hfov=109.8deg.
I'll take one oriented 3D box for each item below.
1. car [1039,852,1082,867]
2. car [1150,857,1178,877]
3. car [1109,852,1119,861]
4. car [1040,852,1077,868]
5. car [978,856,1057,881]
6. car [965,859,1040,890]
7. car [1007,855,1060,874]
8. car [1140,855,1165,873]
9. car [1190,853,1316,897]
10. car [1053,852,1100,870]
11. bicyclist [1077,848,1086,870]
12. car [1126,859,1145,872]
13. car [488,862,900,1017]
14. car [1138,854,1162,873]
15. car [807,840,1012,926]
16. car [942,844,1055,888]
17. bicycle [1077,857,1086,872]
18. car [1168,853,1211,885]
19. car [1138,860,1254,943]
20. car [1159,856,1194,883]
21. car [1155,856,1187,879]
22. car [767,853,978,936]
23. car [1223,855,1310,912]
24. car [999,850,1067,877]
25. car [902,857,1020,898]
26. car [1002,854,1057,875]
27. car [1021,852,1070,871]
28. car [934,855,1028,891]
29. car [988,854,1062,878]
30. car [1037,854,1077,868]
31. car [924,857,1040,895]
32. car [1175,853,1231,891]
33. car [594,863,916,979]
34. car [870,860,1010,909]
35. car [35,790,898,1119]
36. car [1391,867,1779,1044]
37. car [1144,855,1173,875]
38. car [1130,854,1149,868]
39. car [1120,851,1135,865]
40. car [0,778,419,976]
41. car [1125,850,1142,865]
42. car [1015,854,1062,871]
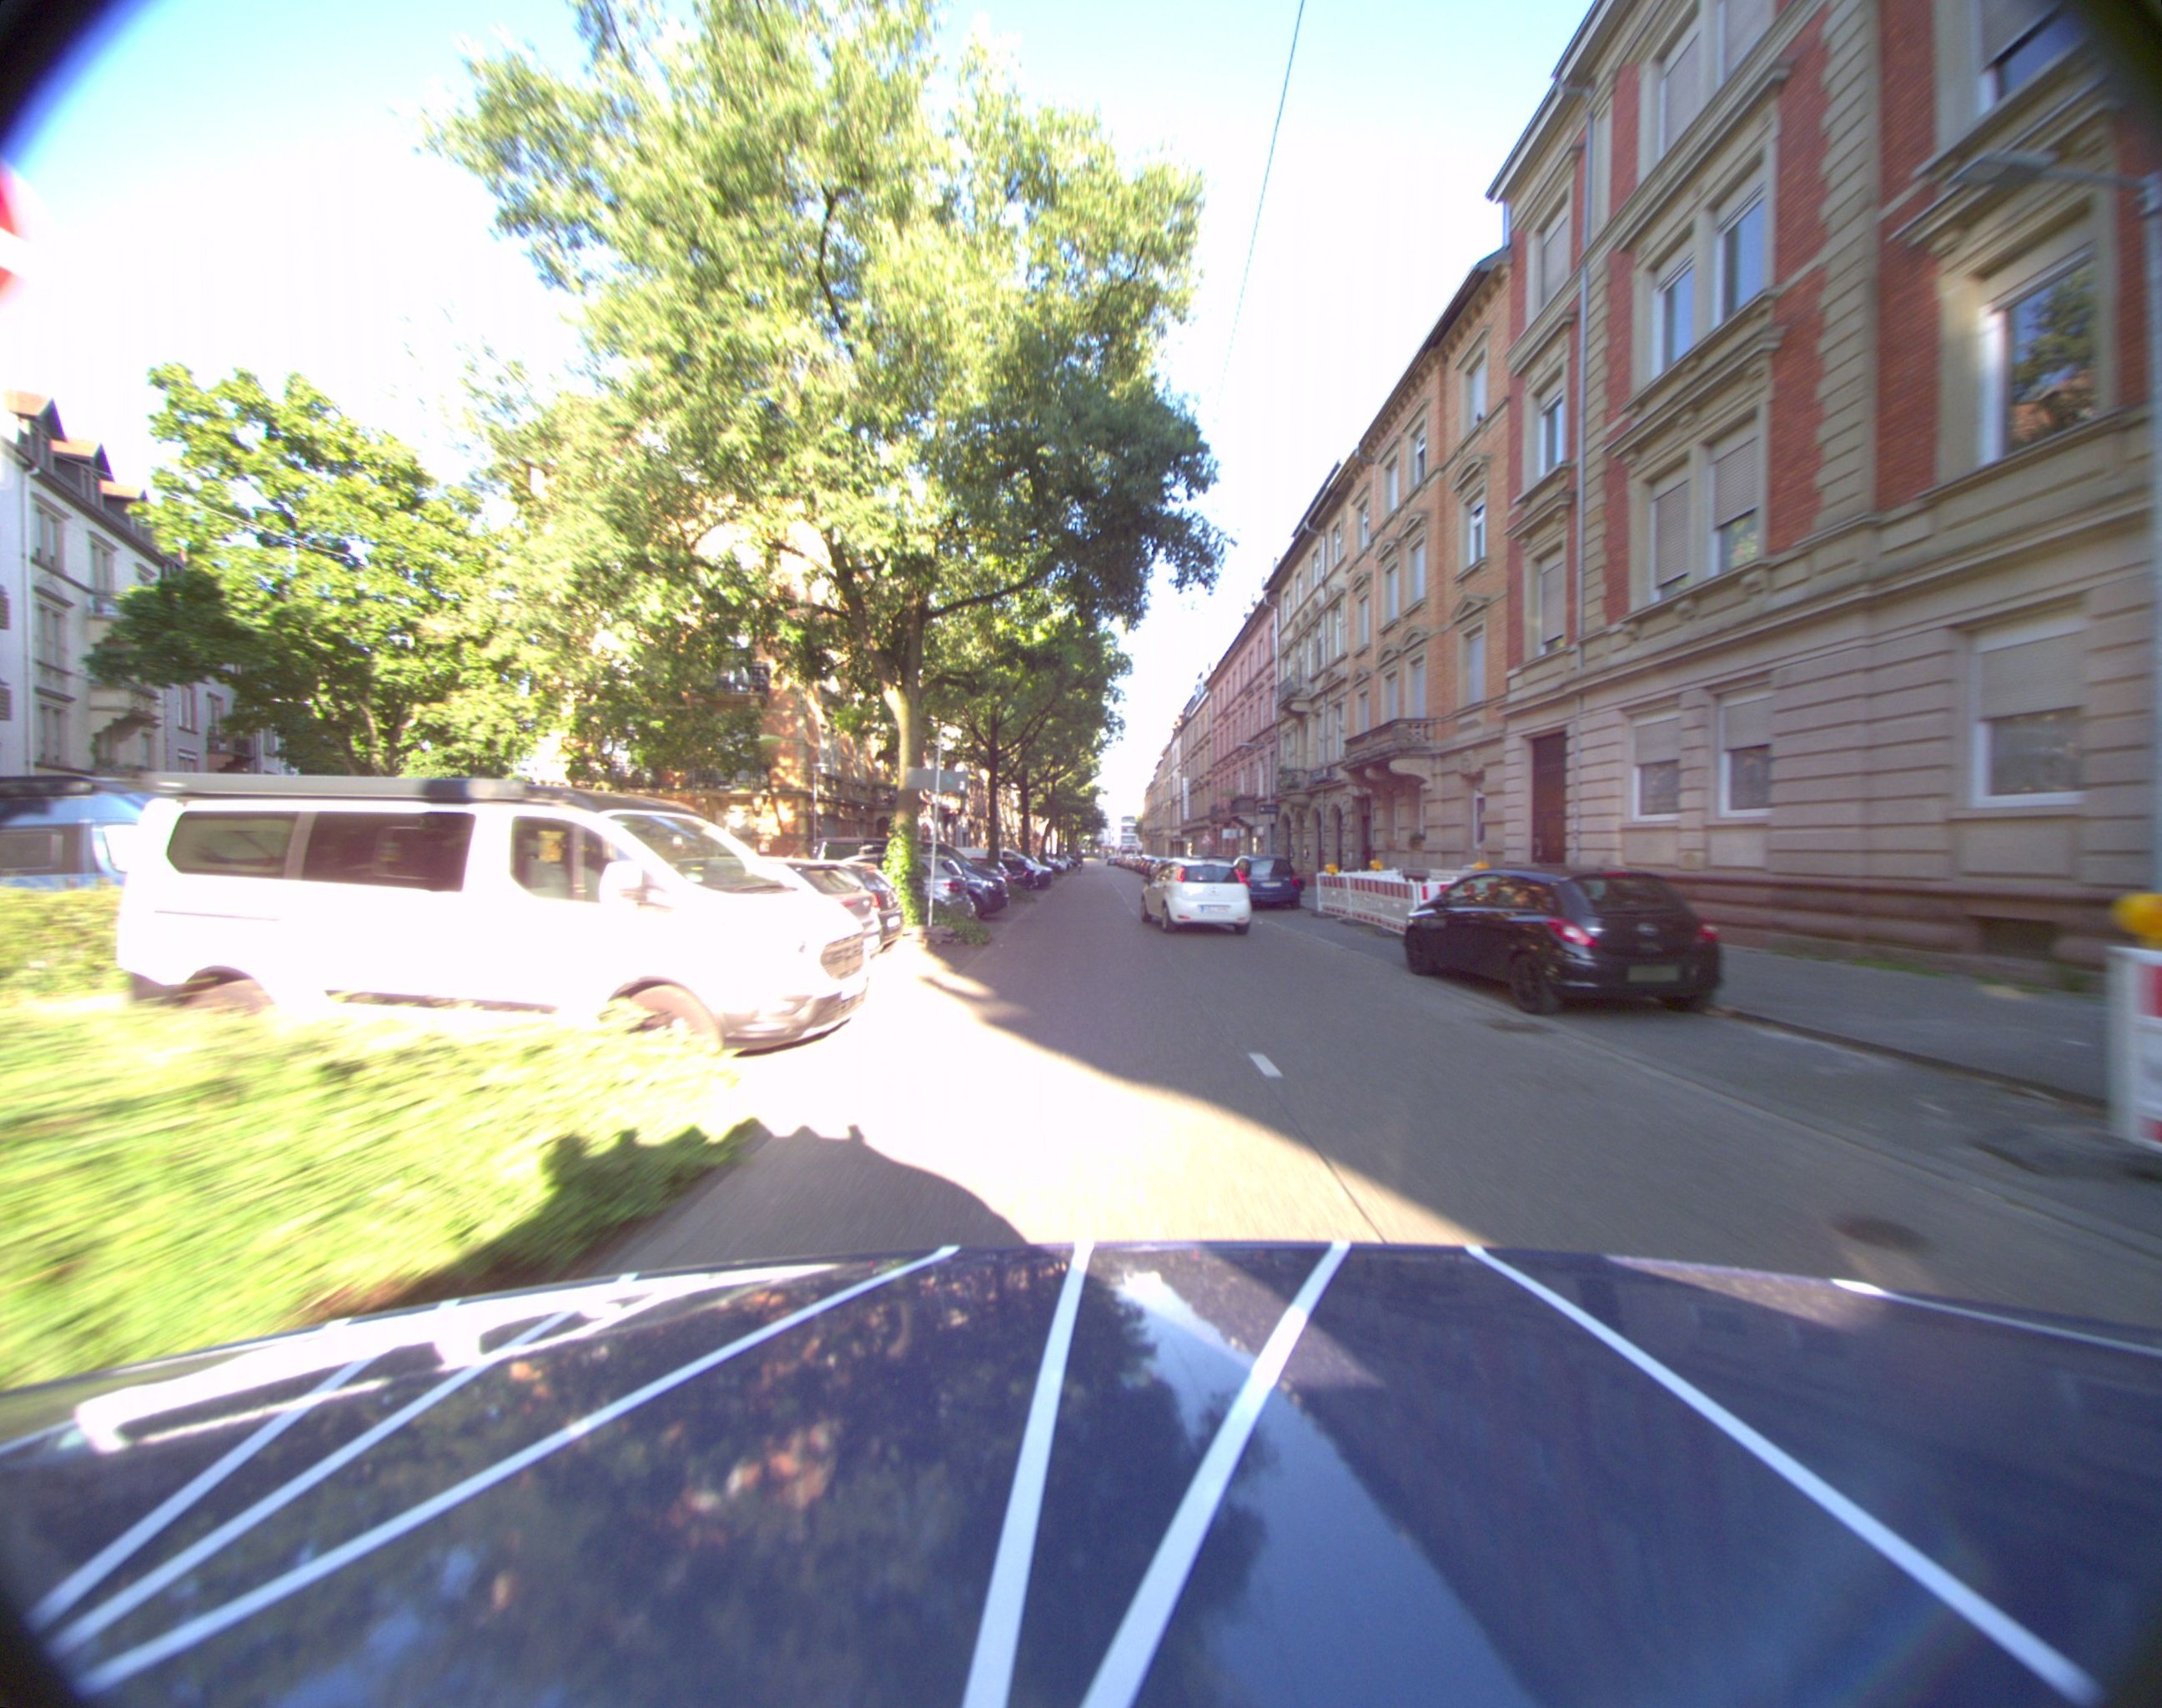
[{"bbox_3d":[-2.447,0.629,90.698,4.933,1.623,2.078,3,0,-2],"label":"car"},{"bbox_3d":[5.885,0.911,54.227,1.709,1.315,4.101,0,0,1],"label":"car"},{"bbox_3d":[5.997,0.492,137.245,1.868,1.620,3.826,-1,0,3],"label":"car"},{"bbox_3d":[-2.570,0.662,87.994,4.134,1.778,1.945,0,0,3],"label":"car"},{"bbox_3d":[-3.872,0.860,46.913,4.670,1.494,1.932,0,0,1],"label":"car"},{"bbox_3d":[-4.212,1.097,41.028,3.894,1.639,1.724,0,0,-1],"label":"car"},{"bbox_3d":[-3.634,0.791,58.516,3.998,1.454,1.782,0,0,-2],"label":"car"},{"bbox_3d":[6.144,0.839,65.519,1.825,1.417,4.314,-2,0,1],"label":"car"},{"bbox_3d":[6.088,0.732,27.152,3.999,1.521,1.825,0,0,-5],"label":"car"},{"bbox_3d":[-0.400,0.667,73.599,4.486,1.647,1.891,0,2,3],"label":"car"},{"bbox_3d":[0.071,0.419,65.757,0.712,1.865,1.120,1,1,1],"label":"bicyclist"},{"bbox_3d":[6.237,1.318,87.735,1.891,1.436,4.542,0,0,0],"label":"car"},{"bbox_3d":[-4.245,0.905,8.777,3.850,1.586,1.741,0,0,1],"label":"car"},{"bbox_3d":[6.303,0.837,69.829,1.825,1.591,4.314,-2,0,1],"label":"car"},{"bbox_3d":[-4.096,0.682,18.778,4.627,2.002,2.000,0,0,-1],"label":"car"},{"bbox_3d":[-3.857,0.565,36.280,5.104,1.930,2.157,0,4,1],"label":"car"},{"bbox_3d":[0.052,0.874,65.714,0.712,1.252,1.888,1,0,1],"label":"bicycle"},{"bbox_3d":[5.596,0.734,39.536,1.651,1.464,4.000,-3,0,1],"label":"car"},{"bbox_3d":[2.320,0.913,16.308,1.754,1.500,3.999,0,0,-2],"label":"car"},{"bbox_3d":[5.531,0.870,44.503,1.586,1.464,4.000,0,0,1],"label":"car"},{"bbox_3d":[5.837,0.857,49.489,1.709,1.430,3.959,0,0,1],"label":"car"},{"bbox_3d":[-4.318,0.816,16.231,3.997,1.682,1.800,0,0,-1],"label":"car"},{"bbox_3d":[5.488,0.825,22.940,1.745,1.558,3.895,0,0,2],"label":"car"},{"bbox_3d":[-3.316,0.657,53.234,4.657,1.692,1.881,2,0,-2],"label":"car"},{"bbox_3d":[-4.421,0.854,28.446,4.091,1.489,1.843,0,0,1],"label":"car"},{"bbox_3d":[-3.782,0.762,55.921,3.998,1.581,1.782,0,0,-2],"label":"car"},{"bbox_3d":[-3.287,0.679,70.779,4.487,1.647,1.891,0,2,0],"label":"car"},{"bbox_3d":[-4.417,0.820,33.690,3.999,1.466,1.781,1,0,-6],"label":"car"},{"bbox_3d":[-3.609,0.748,49.528,4.563,1.520,2.000,0,0,2],"label":"car"},{"bbox_3d":[-2.498,0.712,79.160,3.996,1.448,1.687,0,0,2],"label":"car"},{"bbox_3d":[-3.948,0.879,30.820,4.380,1.447,1.934,0,0,1],"label":"car"},{"bbox_3d":[5.490,0.776,34.617,1.652,1.565,4.048,-3,0,-3],"label":"car"},{"bbox_3d":[-4.538,0.908,11.025,3.850,1.507,1.848,0,0,1],"label":"car"},{"bbox_3d":[-4.404,0.936,24.105,3.995,1.439,1.891,0,0,5],"label":"car"},{"bbox_3d":[-4.189,0.643,5.896,4.986,2.084,2.106,0,1,1],"label":"car"},{"bbox_3d":[5.188,0.919,8.599,1.708,1.446,4.020,0,0,0],"label":"car"},{"bbox_3d":[5.965,0.819,59.102,1.825,1.468,4.423,-2,0,1],"label":"car"},{"bbox_3d":[6.352,0.758,83.134,1.761,1.464,4.088,0,0,0],"label":"car"},{"bbox_3d":[7.105,0.560,116.422,1.947,2.045,4.745,-1,0,1],"label":"car"},{"bbox_3d":[-13.613,0.283,10.876,5.912,2.522,2.379,-1,1,-5],"label":"car"},{"bbox_3d":[6.830,0.469,99.176,1.847,1.822,4.606,-1,0,0],"label":"car"},{"bbox_3d":[-3.805,0.788,68.281,4.110,1.461,1.801,0,0,2],"label":"car"}]
